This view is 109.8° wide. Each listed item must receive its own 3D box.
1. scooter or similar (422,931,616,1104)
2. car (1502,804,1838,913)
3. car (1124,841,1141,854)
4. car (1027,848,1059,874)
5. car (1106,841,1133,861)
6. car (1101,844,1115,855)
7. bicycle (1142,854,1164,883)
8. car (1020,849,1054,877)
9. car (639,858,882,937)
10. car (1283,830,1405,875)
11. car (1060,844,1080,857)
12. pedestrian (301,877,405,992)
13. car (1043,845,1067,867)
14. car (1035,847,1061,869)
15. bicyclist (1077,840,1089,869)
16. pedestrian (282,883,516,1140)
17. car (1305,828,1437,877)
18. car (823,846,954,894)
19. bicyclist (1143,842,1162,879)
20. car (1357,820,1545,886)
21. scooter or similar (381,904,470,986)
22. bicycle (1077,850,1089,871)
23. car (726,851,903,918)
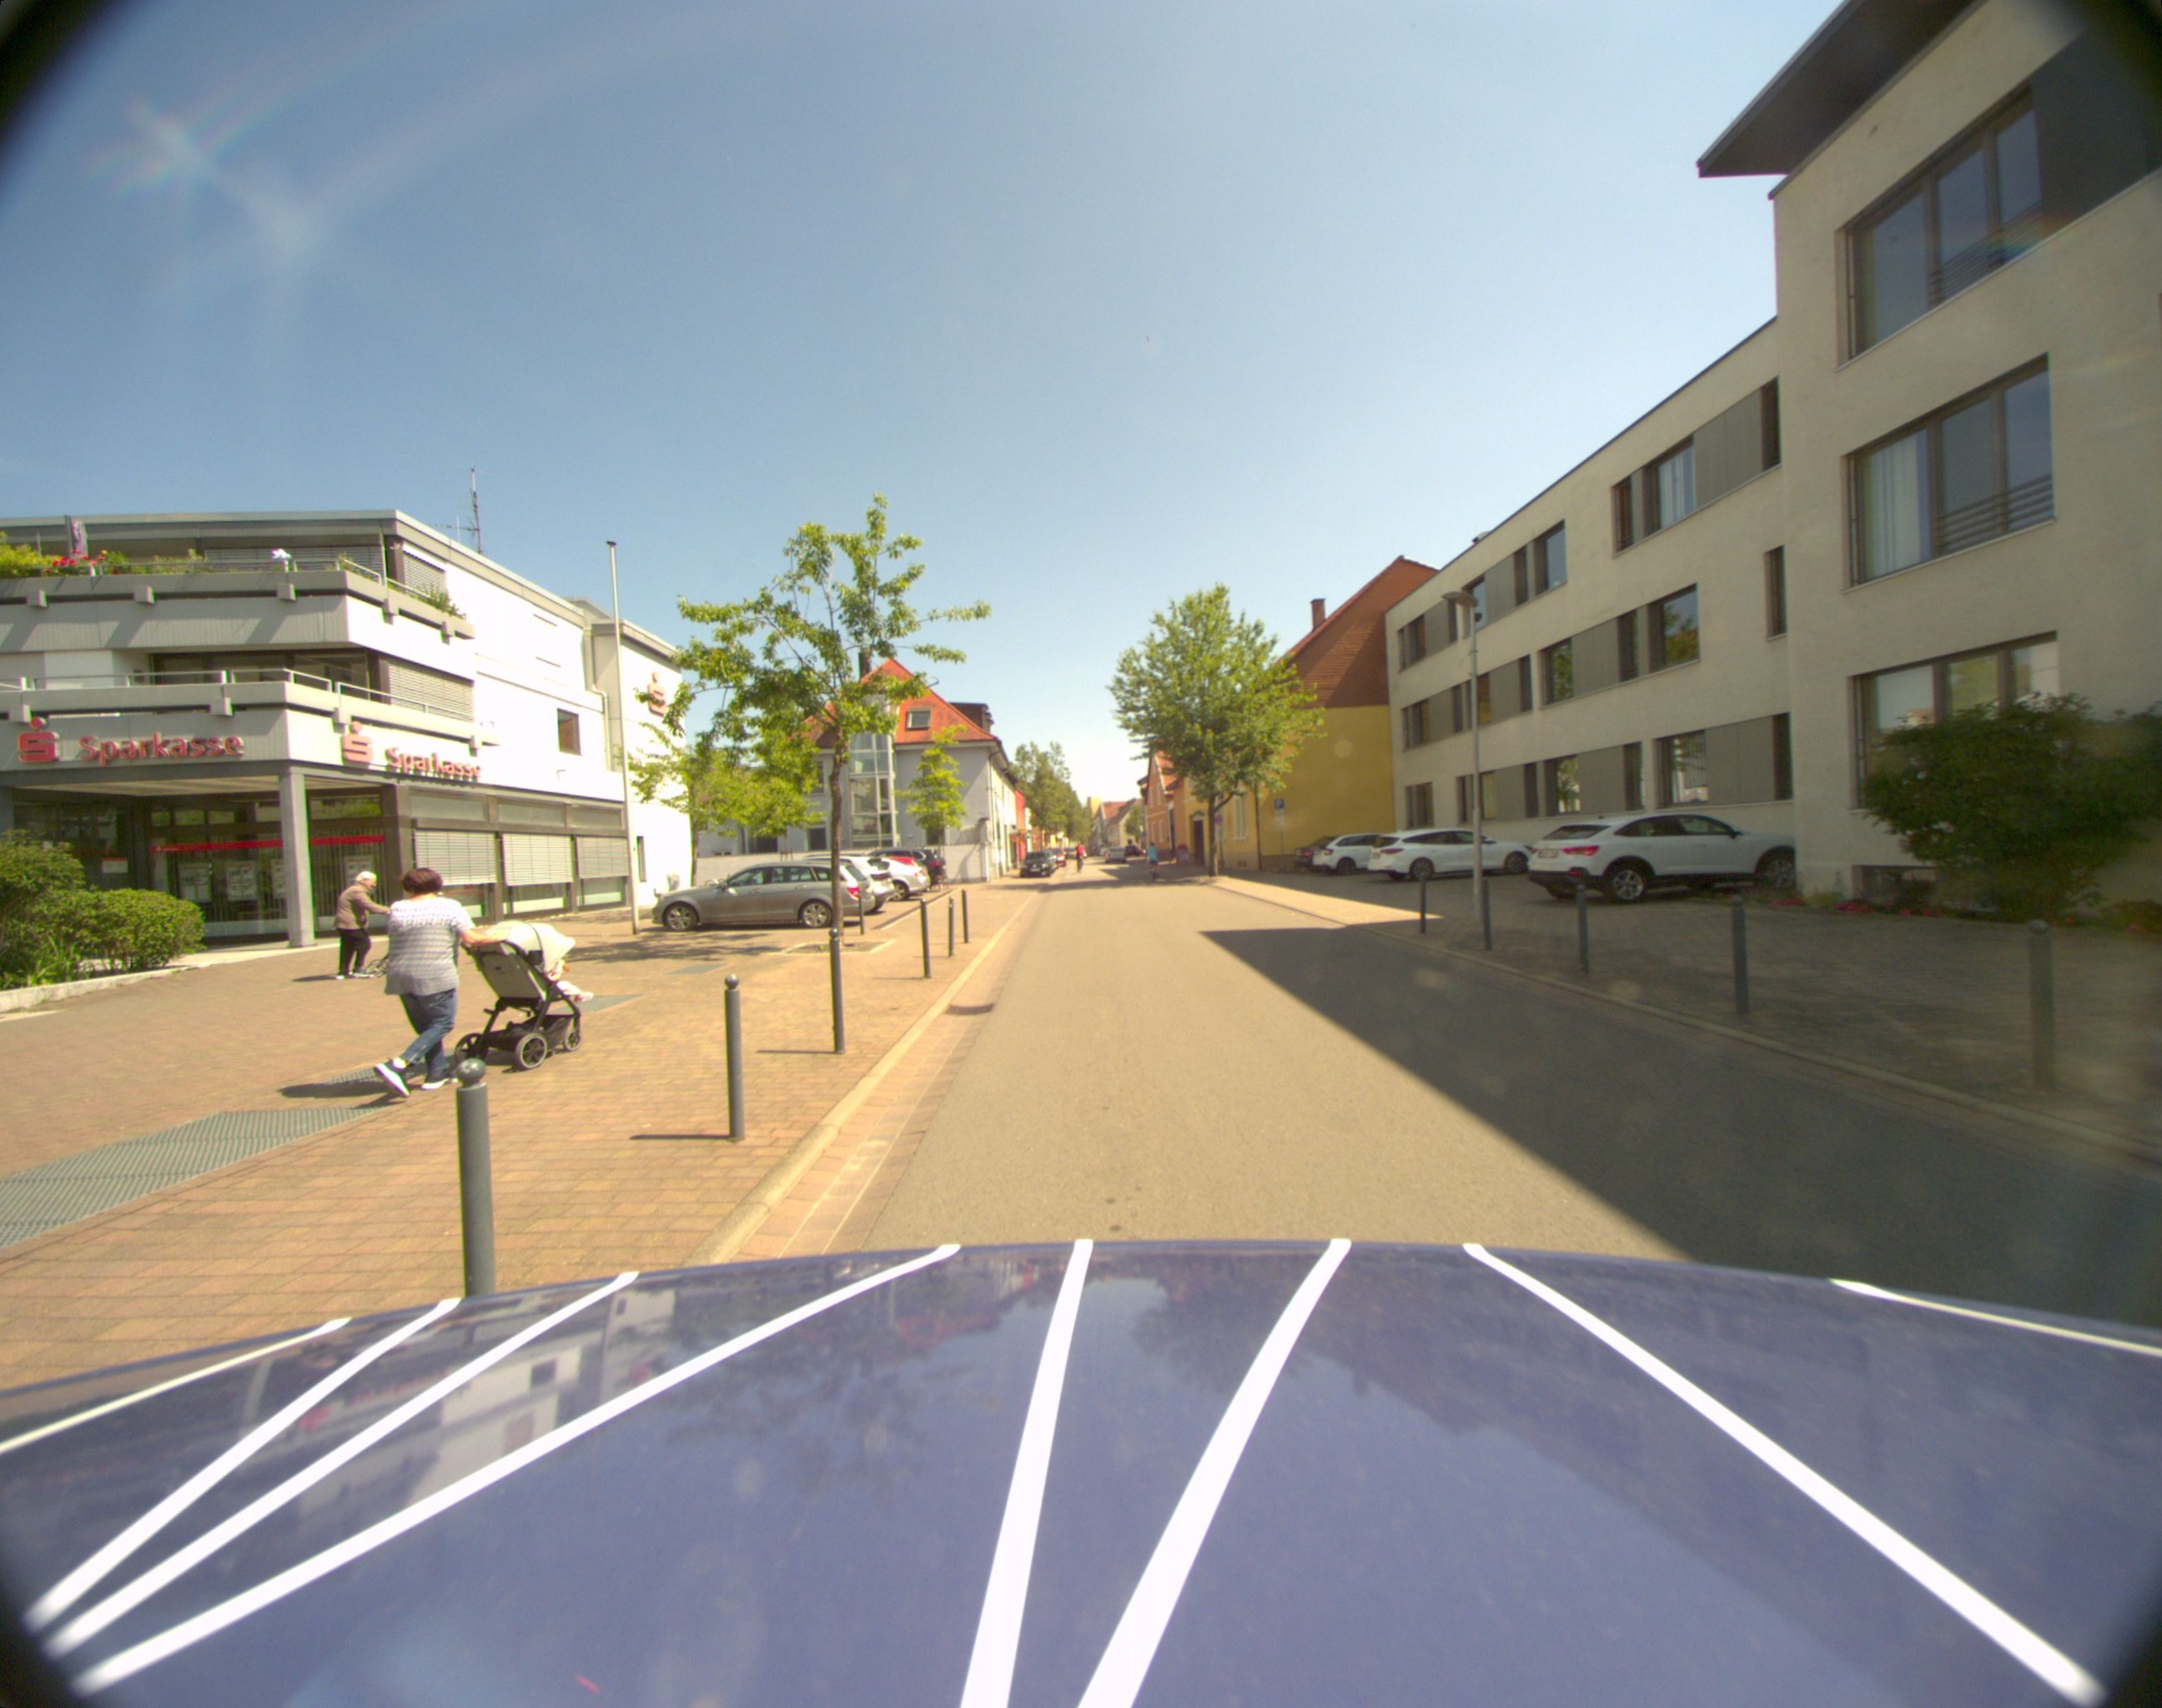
[{"bbox_3d":[-4.330,1.223,5.941,0.627,1.100,1.044,-3,1,5],"label":"scooter or similar"},{"bbox_3d":[10.634,0.062,14.001,4.518,1.545,2.147,-4,1,-2],"label":"car"},{"bbox_3d":[6.792,-0.910,99.993,1.863,1.620,4.048,-3,1,7],"label":"car"},{"bbox_3d":[-2.382,0.405,48.199,1.721,1.473,4.095,-2,1,1],"label":"car"},{"bbox_3d":[3.301,-0.231,65.880,1.886,1.455,4.436,-2,-2,-4],"label":"car"},{"bbox_3d":[5.827,-0.974,162.903,2.443,2.224,4.958,-3,1,-3],"label":"car"},{"bbox_3d":[2.996,0.577,31.642,0.675,1.103,1.897,-1,1,12],"label":"bicycle"},{"bbox_3d":[-2.430,0.462,42.652,1.708,1.473,3.920,-1,1,-1],"label":"car"},{"bbox_3d":[-6.930,0.912,16.896,4.589,1.504,1.915,-1,1,-6],"label":"car"},{"bbox_3d":[10.244,-0.076,29.818,3.998,1.423,1.971,-4,0,-4],"label":"car"},{"bbox_3d":[-1.410,-0.503,100.316,1.928,1.594,4.110,-3,1,7],"label":"car"},{"bbox_3d":[-10.204,1.101,10.686,0.812,1.488,0.668,-4,1,-26],"label":"pedestrian"},{"bbox_3d":[-2.141,0.132,62.177,1.834,1.579,4.086,-4,1,-3],"label":"car"},{"bbox_3d":[-2.385,0.256,55.889,1.741,1.504,3.735,-2,0,-1],"label":"car"},{"bbox_3d":[0.130,0.041,46.204,0.645,1.766,0.722,-1,0,2],"label":"bicyclist"},{"bbox_3d":[-4.472,0.987,5.047,0.705,1.512,0.801,-3,1,5],"label":"pedestrian"},{"bbox_3d":[10.368,-0.047,27.347,3.997,1.443,1.807,-4,0,0],"label":"car"},{"bbox_3d":[-7.473,0.604,29.923,4.643,1.761,2.147,-1,0,-3],"label":"car"},{"bbox_3d":[2.976,0.266,31.565,0.670,1.518,0.762,-1,1,11],"label":"bicyclist"},{"bbox_3d":[10.749,-0.050,22.298,4.515,1.545,1.934,-4,2,0],"label":"car"},{"bbox_3d":[-9.500,1.298,11.040,0.806,1.069,0.590,-3,1,-27],"label":"scooter or similar"},{"bbox_3d":[0.143,0.401,46.216,0.635,1.227,1.894,-1,-1,2],"label":"bicycle"},{"bbox_3d":[-6.854,0.767,19.858,3.998,1.565,1.856,1,2,-4],"label":"car"}]
